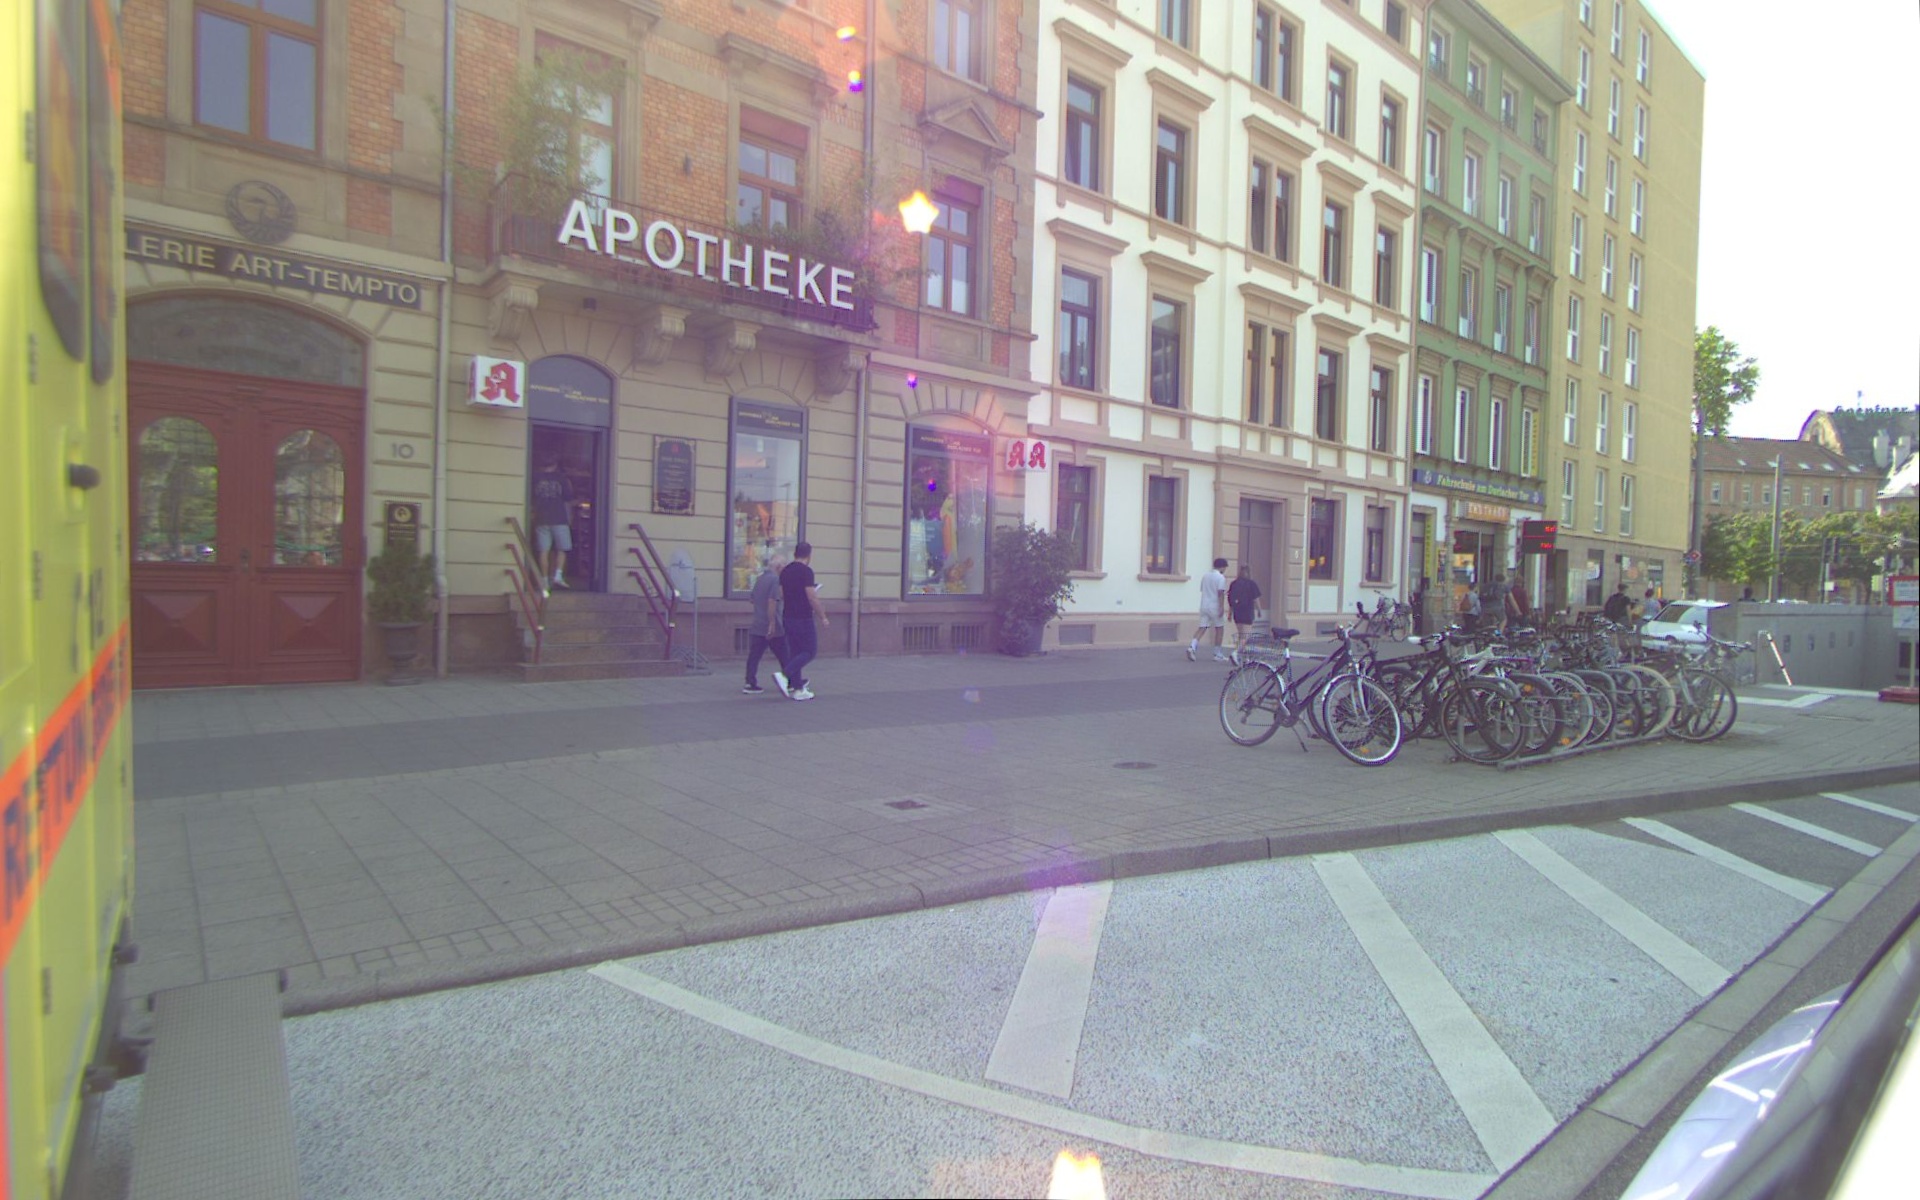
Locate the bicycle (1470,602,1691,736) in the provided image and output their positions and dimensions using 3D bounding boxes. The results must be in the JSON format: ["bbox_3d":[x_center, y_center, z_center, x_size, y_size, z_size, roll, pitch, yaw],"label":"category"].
[{"bbox_3d":[6.250,0.641,10.289,0.539,1.219,1.841,1,0,-39],"label":"bicycle"}]

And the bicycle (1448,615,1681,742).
[{"bbox_3d":[5.824,0.705,9.849,0.645,1.070,1.841,0,0,-39],"label":"bicycle"}]

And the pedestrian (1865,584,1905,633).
[{"bbox_3d":[31.640,0.285,34.633,0.780,1.648,0.647,1,2,-19],"label":"pedestrian"}]

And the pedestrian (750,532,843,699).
[{"bbox_3d":[-1.711,0.140,10.557,0.696,1.671,0.645,1,2,-38],"label":"pedestrian"}]

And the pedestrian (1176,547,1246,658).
[{"bbox_3d":[4.294,0.023,17.325,0.913,1.826,0.726,0,2,-43],"label":"pedestrian"}]

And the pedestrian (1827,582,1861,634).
[{"bbox_3d":[28.563,0.251,32.684,0.782,1.648,0.645,1,2,-39],"label":"pedestrian"}]

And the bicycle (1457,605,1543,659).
[{"bbox_3d":[10.342,0.593,19.349,1.964,0.965,0.721,1,1,-39],"label":"bicycle"}]

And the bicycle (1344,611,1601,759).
[{"bbox_3d":[4.269,0.655,8.563,0.645,1.074,1.841,0,0,-39],"label":"bicycle"}]

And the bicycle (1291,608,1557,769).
[{"bbox_3d":[3.611,0.629,8.011,0.686,1.089,1.806,0,0,-39],"label":"bicycle"}]

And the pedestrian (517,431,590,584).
[{"bbox_3d":[-5.239,-1.167,13.035,0.650,1.886,0.738,0,1,-40],"label":"pedestrian"}]

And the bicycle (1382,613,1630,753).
[{"bbox_3d":[4.794,0.675,9.003,0.645,1.066,1.841,0,0,-39],"label":"bicycle"}]

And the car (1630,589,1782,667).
[{"bbox_3d":[16.255,0.559,21.995,3.862,1.444,1.667,0,4,-39],"label":"car"}]

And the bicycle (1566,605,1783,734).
[{"bbox_3d":[7.525,0.680,10.749,0.427,1.235,1.841,1,0,-39],"label":"bicycle"}]

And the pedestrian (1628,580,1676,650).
[{"bbox_3d":[16.719,0.359,24.445,0.781,1.648,0.646,1,2,-32],"label":"pedestrian"}]

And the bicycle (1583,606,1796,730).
[{"bbox_3d":[7.896,0.690,11.037,0.427,1.219,1.841,1,0,-39],"label":"bicycle"}]

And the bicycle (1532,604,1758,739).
[{"bbox_3d":[6.836,0.660,10.199,0.427,1.219,1.841,1,0,-39],"label":"bicycle"}]

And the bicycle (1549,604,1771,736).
[{"bbox_3d":[7.176,0.667,10.461,0.427,1.219,1.841,1,0,-39],"label":"bicycle"}]

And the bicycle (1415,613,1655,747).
[{"bbox_3d":[5.294,0.684,9.426,0.645,1.074,1.841,0,0,-39],"label":"bicycle"}]

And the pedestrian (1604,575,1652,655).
[{"bbox_3d":[15.492,0.330,23.470,0.783,1.780,0.688,0,2,-41],"label":"pedestrian"}]

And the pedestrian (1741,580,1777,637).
[{"bbox_3d":[23.654,0.251,29.968,0.783,1.648,0.645,0,2,-42],"label":"pedestrian"}]

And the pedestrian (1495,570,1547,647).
[{"bbox_3d":[13.276,0.179,23.952,0.867,1.755,0.771,0,2,-42],"label":"pedestrian"}]

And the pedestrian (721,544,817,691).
[{"bbox_3d":[-2.084,0.175,11.049,0.827,1.528,0.558,1,2,-39],"label":"pedestrian"}]

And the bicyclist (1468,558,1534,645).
[{"bbox_3d":[10.346,0.026,19.342,1.083,1.606,0.721,1,1,-39],"label":"bicyclist"}]

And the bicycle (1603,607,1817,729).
[{"bbox_3d":[8.379,0.711,11.377,0.626,1.219,1.841,0,0,-38],"label":"bicycle"}]

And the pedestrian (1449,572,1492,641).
[{"bbox_3d":[12.617,0.146,25.014,0.782,1.648,0.645,1,2,-39],"label":"pedestrian"}]

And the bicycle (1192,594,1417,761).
[{"bbox_3d":[2.732,0.557,8.166,0.677,1.200,1.607,0,0,-38],"label":"bicycle"}]

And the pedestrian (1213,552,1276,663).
[{"bbox_3d":[4.748,0.106,16.883,0.783,1.793,0.644,0,2,-44],"label":"pedestrian"}]
